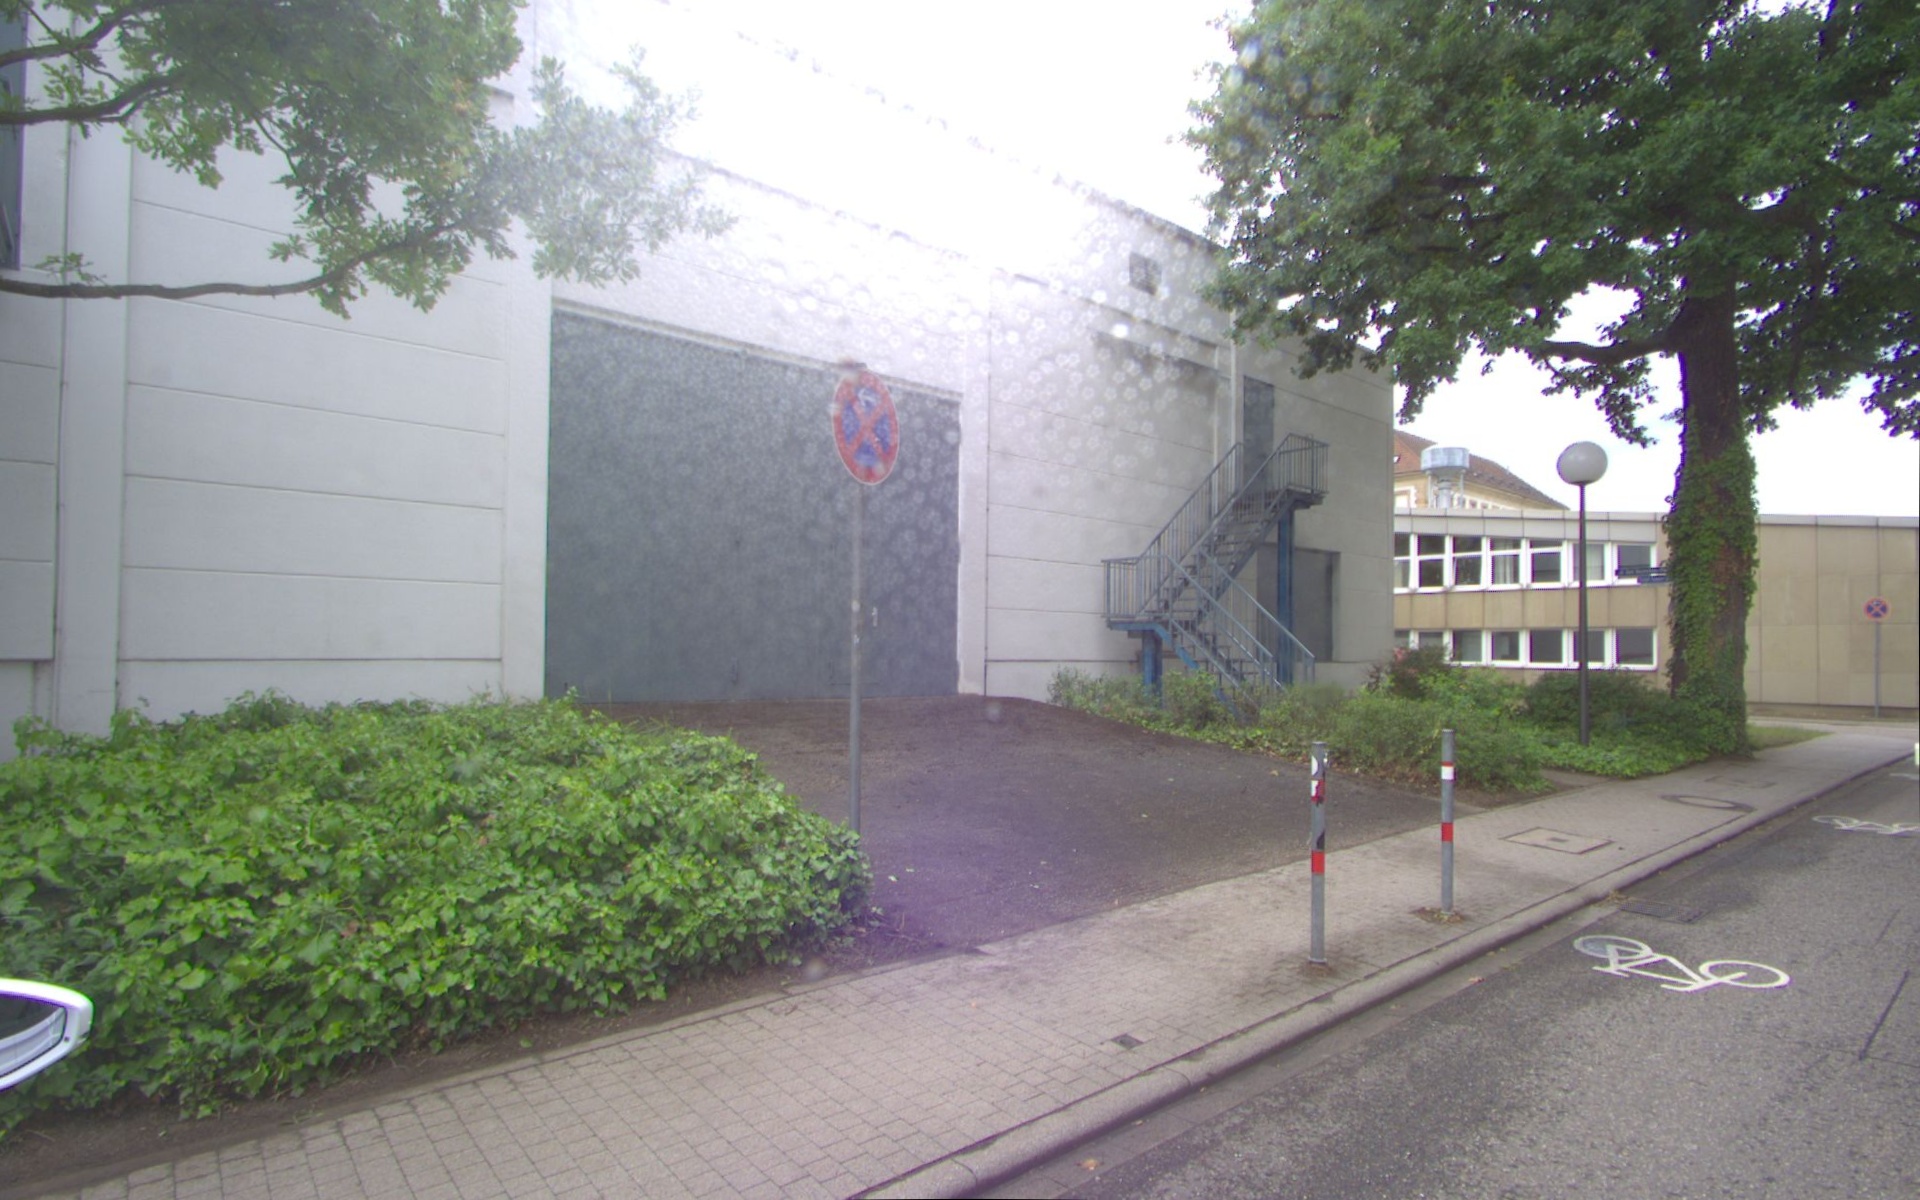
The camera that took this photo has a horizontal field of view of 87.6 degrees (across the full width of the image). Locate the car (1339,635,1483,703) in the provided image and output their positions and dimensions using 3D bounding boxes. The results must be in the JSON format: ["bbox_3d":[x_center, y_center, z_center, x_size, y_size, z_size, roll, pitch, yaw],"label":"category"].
[{"bbox_3d":[11.504,1.698,25.431,3.958,1.549,1.853,2,-2,-41],"label":"car"}]
